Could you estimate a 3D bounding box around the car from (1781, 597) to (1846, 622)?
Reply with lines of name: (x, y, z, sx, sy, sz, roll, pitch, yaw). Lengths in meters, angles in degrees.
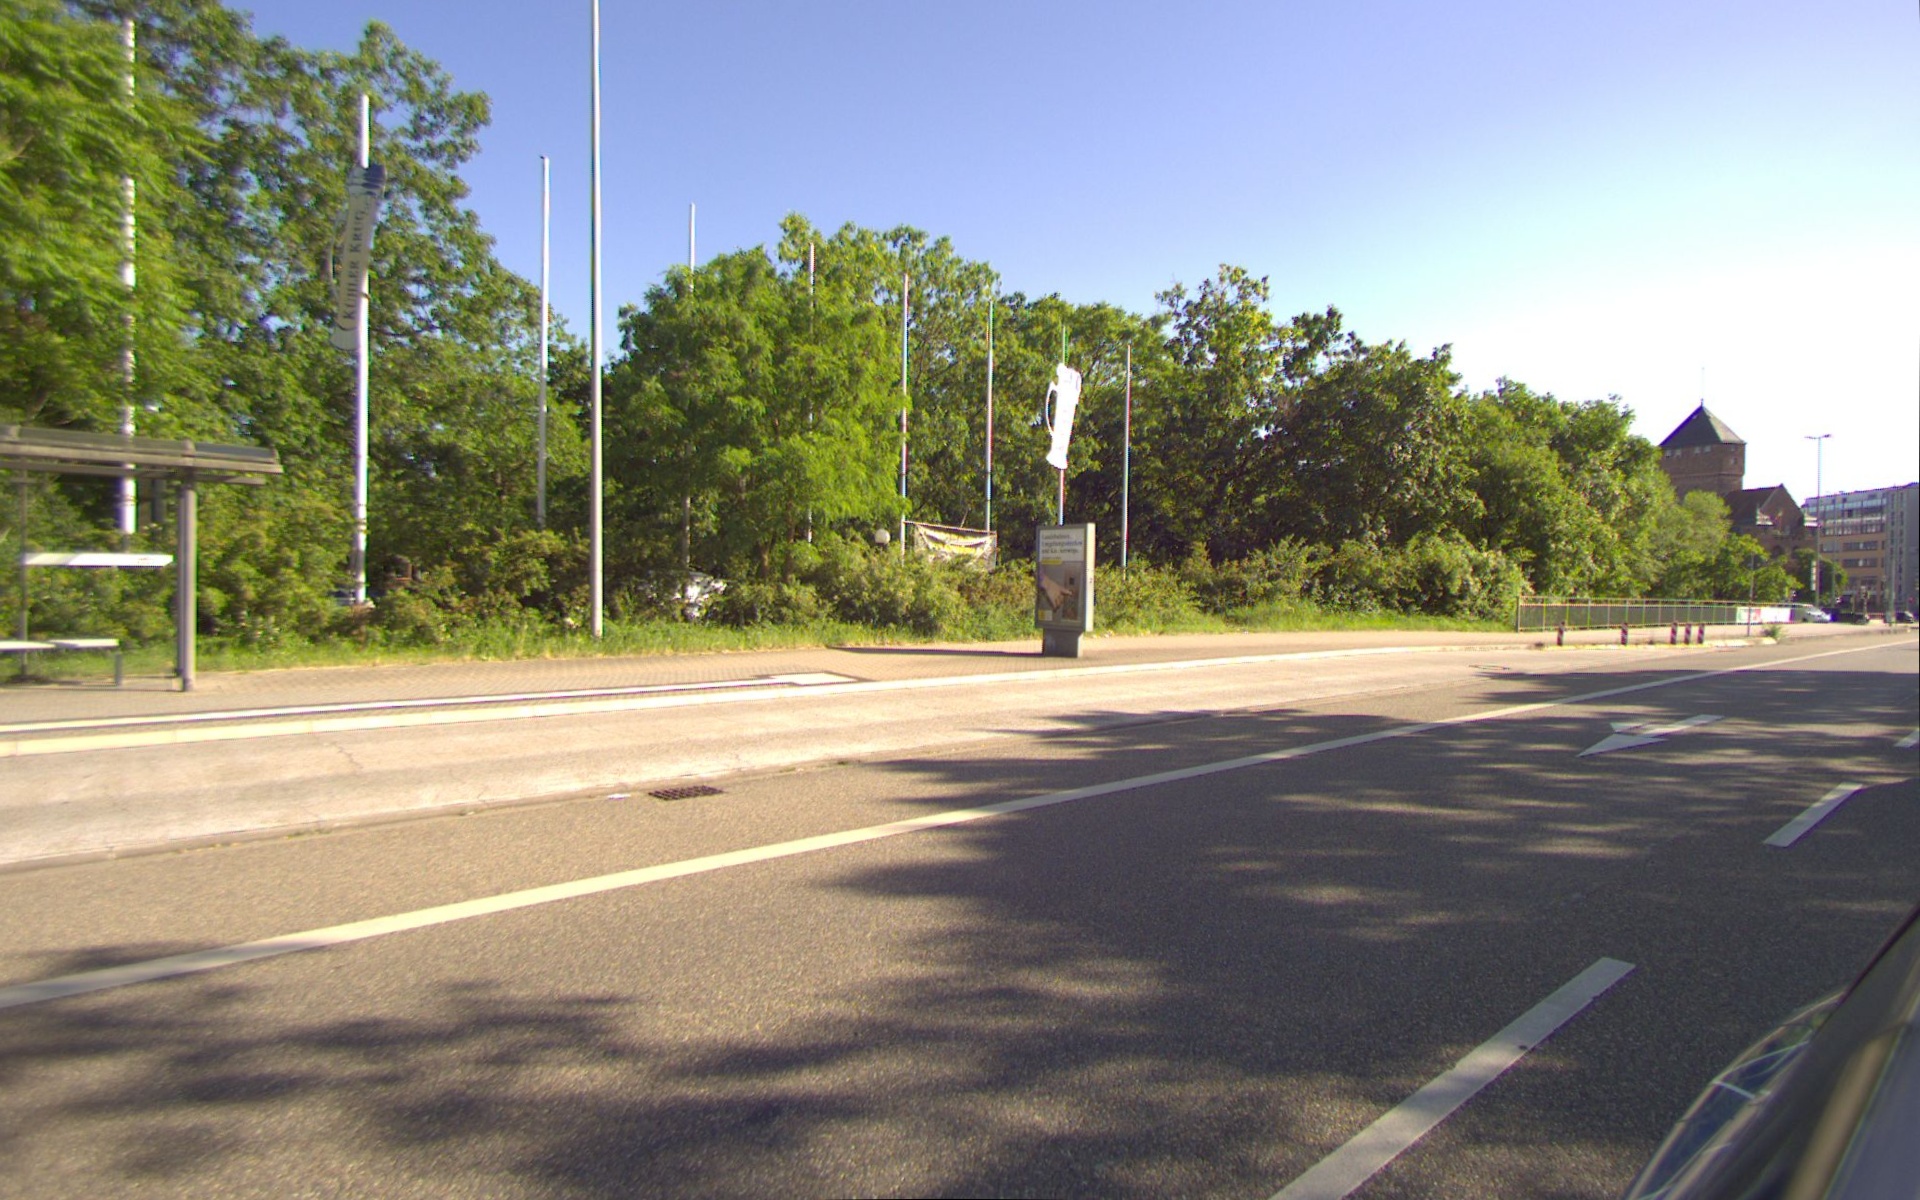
car: (70.188, 0.840, 83.281, 1.712, 1.568, 4.001, 7, -5, -5)
